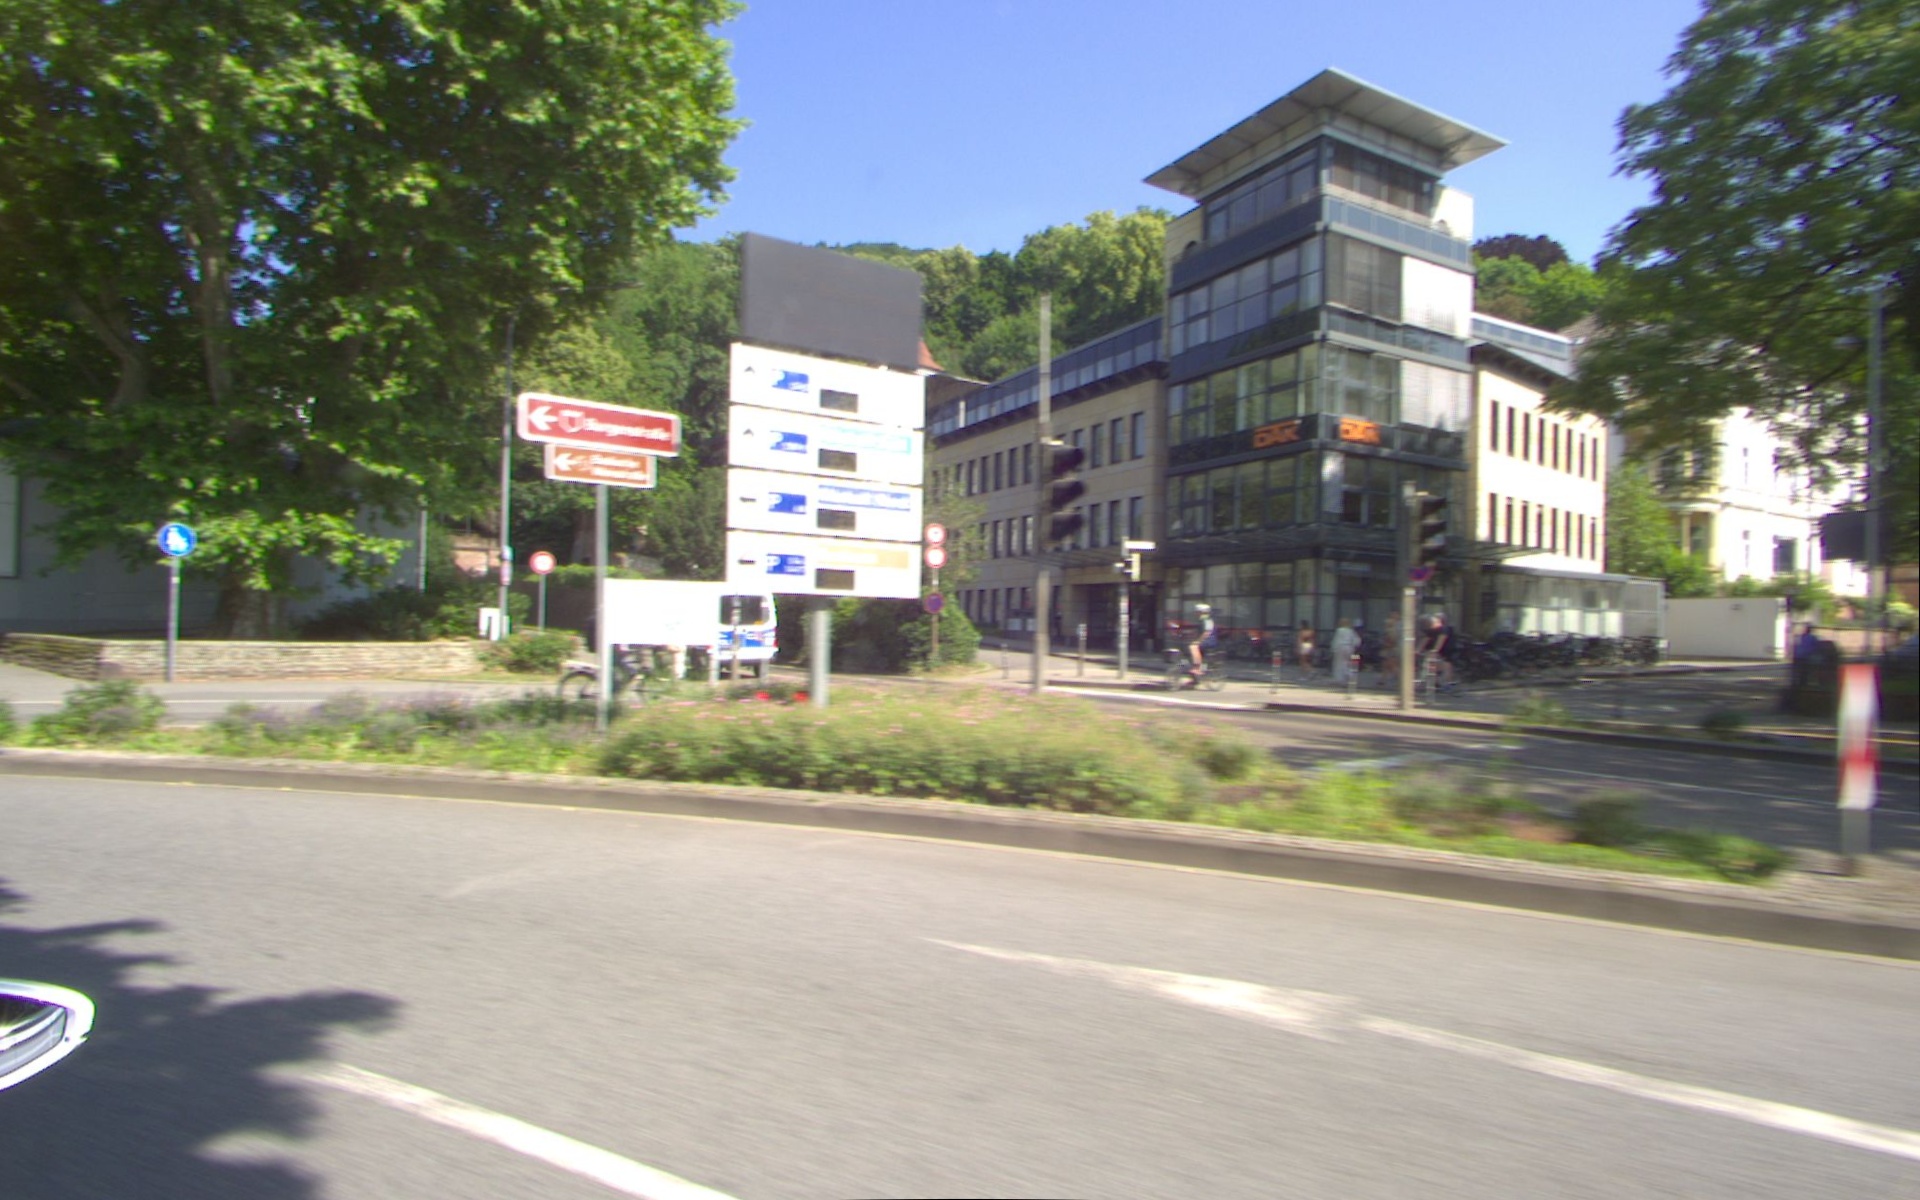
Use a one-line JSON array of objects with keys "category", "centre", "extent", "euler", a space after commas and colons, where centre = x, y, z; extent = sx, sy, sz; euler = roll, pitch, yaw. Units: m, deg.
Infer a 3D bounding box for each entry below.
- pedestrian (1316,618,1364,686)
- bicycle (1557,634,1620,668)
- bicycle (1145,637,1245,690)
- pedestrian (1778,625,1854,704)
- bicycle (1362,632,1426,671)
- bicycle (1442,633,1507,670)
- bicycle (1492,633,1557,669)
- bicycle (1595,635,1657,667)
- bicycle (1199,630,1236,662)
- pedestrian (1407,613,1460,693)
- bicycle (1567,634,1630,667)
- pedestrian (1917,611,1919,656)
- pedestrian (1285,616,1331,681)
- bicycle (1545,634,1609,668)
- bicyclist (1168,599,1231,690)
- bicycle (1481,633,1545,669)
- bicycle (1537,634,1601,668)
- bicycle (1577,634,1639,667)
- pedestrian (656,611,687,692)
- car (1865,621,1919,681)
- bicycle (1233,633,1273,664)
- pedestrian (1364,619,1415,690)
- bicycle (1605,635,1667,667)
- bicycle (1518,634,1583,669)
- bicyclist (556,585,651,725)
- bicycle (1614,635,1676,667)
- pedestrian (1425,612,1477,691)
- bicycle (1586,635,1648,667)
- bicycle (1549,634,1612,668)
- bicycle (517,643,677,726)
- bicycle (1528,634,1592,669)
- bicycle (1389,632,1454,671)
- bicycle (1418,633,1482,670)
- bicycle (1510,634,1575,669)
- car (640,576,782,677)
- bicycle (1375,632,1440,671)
[{"category": "pedestrian", "centre": [9.623, 1.300, 25.366], "extent": [0.761, 1.684, 0.827], "euler": [2, -1, -23]}, {"category": "bicycle", "centre": [21.863, 1.759, 34.883], "extent": [0.531, 1.099, 1.826], "euler": [1, -1, -28]}, {"category": "bicycle", "centre": [5.197, 1.411, 22.165], "extent": [2.047, 1.127, 0.755], "euler": [2, -1, -18]}, {"category": "pedestrian", "centre": [17.834, 1.336, 20.873], "extent": [1.103, 1.601, 0.740], "euler": [1, -1, -18]}, {"category": "bicycle", "centre": [12.892, 1.514, 29.788], "extent": [0.531, 1.099, 1.826], "euler": [1, -1, -28]}, {"category": "bicycle", "centre": [16.145, 1.597, 31.452], "extent": [0.531, 1.099, 1.826], "euler": [1, -1, -28]}, {"category": "bicycle", "centre": [18.323, 1.652, 32.536], "extent": [0.531, 1.099, 1.826], "euler": [1, -1, -28]}, {"category": "bicycle", "centre": [23.944, 1.814, 36.016], "extent": [0.531, 1.099, 1.826], "euler": [1, -1, -28]}, {"category": "bicycle", "centre": [8.726, 1.545, 33.940], "extent": [0.400, 1.026, 1.334], "euler": [1, -1, -30]}, {"category": "pedestrian", "centre": [11.367, 1.270, 24.042], "extent": [0.762, 1.878, 0.826], "euler": [2, -1, -27]}, {"category": "bicycle", "centre": [22.402, 1.773, 35.173], "extent": [0.531, 1.099, 1.826], "euler": [1, -1, -28]}, {"category": "pedestrian", "centre": [43.855, 1.534, 45.469], "extent": [0.572, 2.040, 0.490], "euler": [1, 0, -35]}, {"category": "pedestrian", "centre": [9.239, 1.279, 26.603], "extent": [0.761, 1.684, 0.827], "euler": [2, -1, -23]}, {"category": "bicycle", "centre": [20.962, 1.725, 34.072], "extent": [0.531, 1.099, 1.826], "euler": [1, -1, -28]}, {"category": "bicyclist", "centre": [5.304, 0.991, 22.201], "extent": [1.110, 1.957, 0.747], "euler": [2, -1, -18]}, {"category": "bicycle", "centre": [17.769, 1.636, 32.216], "extent": [0.531, 1.099, 1.826], "euler": [1, -1, -28]}, {"category": "bicycle", "centre": [20.468, 1.708, 33.707], "extent": [0.531, 1.099, 1.826], "euler": [1, -1, -28]}, {"category": "bicycle", "centre": [22.941, 1.787, 35.469], "extent": [0.531, 1.099, 1.826], "euler": [1, -1, -28]}, {"category": "pedestrian", "centre": [-5.936, 1.055, 20.605], "extent": [0.539, 1.642, 0.632], "euler": [1, 0, -21]}, {"category": "car", "centre": [28.310, 1.469, 29.095], "extent": [4.075, 1.668, 1.824], "euler": [1, -1, -30]}, {"category": "bicycle", "centre": [9.472, 1.563, 32.390], "extent": [0.400, 0.953, 1.334], "euler": [1, -1, -30]}, {"category": "pedestrian", "centre": [10.383, 1.315, 24.215], "extent": [0.761, 1.684, 0.826], "euler": [2, -1, -25]}, {"category": "bicycle", "centre": [24.482, 1.827, 36.272], "extent": [0.531, 1.099, 1.826], "euler": [1, -1, -28]}, {"category": "bicycle", "centre": [19.479, 1.678, 33.052], "extent": [0.531, 1.099, 1.826], "euler": [1, -1, -28]}, {"category": "bicyclist", "centre": [-5.177, 0.797, 14.616], "extent": [1.108, 1.957, 0.748], "euler": [1, -1, -5]}, {"category": "bicycle", "centre": [25.014, 1.842, 36.596], "extent": [0.531, 1.099, 1.826], "euler": [1, -1, -28]}, {"category": "pedestrian", "centre": [12.008, 1.254, 24.480], "extent": [0.761, 1.878, 0.826], "euler": [2, -1, -26]}, {"category": "bicycle", "centre": [23.444, 1.801, 35.753], "extent": [0.531, 1.099, 1.826], "euler": [1, -1, -28]}, {"category": "bicycle", "centre": [21.378, 1.743, 34.534], "extent": [0.531, 1.099, 1.826], "euler": [1, -1, -28]}, {"category": "bicycle", "centre": [-5.255, 1.216, 14.599], "extent": [2.043, 1.127, 0.757], "euler": [1, -1, -6]}, {"category": "bicycle", "centre": [19.973, 1.693, 33.372], "extent": [0.531, 1.099, 1.826], "euler": [1, -1, -28]}, {"category": "bicycle", "centre": [13.958, 1.541, 30.317], "extent": [0.531, 1.099, 1.826], "euler": [1, -1, -28]}, {"category": "bicycle", "centre": [15.057, 1.567, 30.811], "extent": [0.531, 1.099, 1.826], "euler": [1, -1, -28]}, {"category": "bicycle", "centre": [18.993, 1.663, 32.697], "extent": [0.531, 1.099, 1.826], "euler": [1, -1, -28]}, {"category": "car", "centre": [-6.954, 0.750, 27.622], "extent": [2.055, 2.540, 4.894], "euler": [3, -2, -36]}, {"category": "bicycle", "centre": [13.397, 1.526, 30.016], "extent": [0.531, 1.099, 1.826], "euler": [1, -1, -28]}]
